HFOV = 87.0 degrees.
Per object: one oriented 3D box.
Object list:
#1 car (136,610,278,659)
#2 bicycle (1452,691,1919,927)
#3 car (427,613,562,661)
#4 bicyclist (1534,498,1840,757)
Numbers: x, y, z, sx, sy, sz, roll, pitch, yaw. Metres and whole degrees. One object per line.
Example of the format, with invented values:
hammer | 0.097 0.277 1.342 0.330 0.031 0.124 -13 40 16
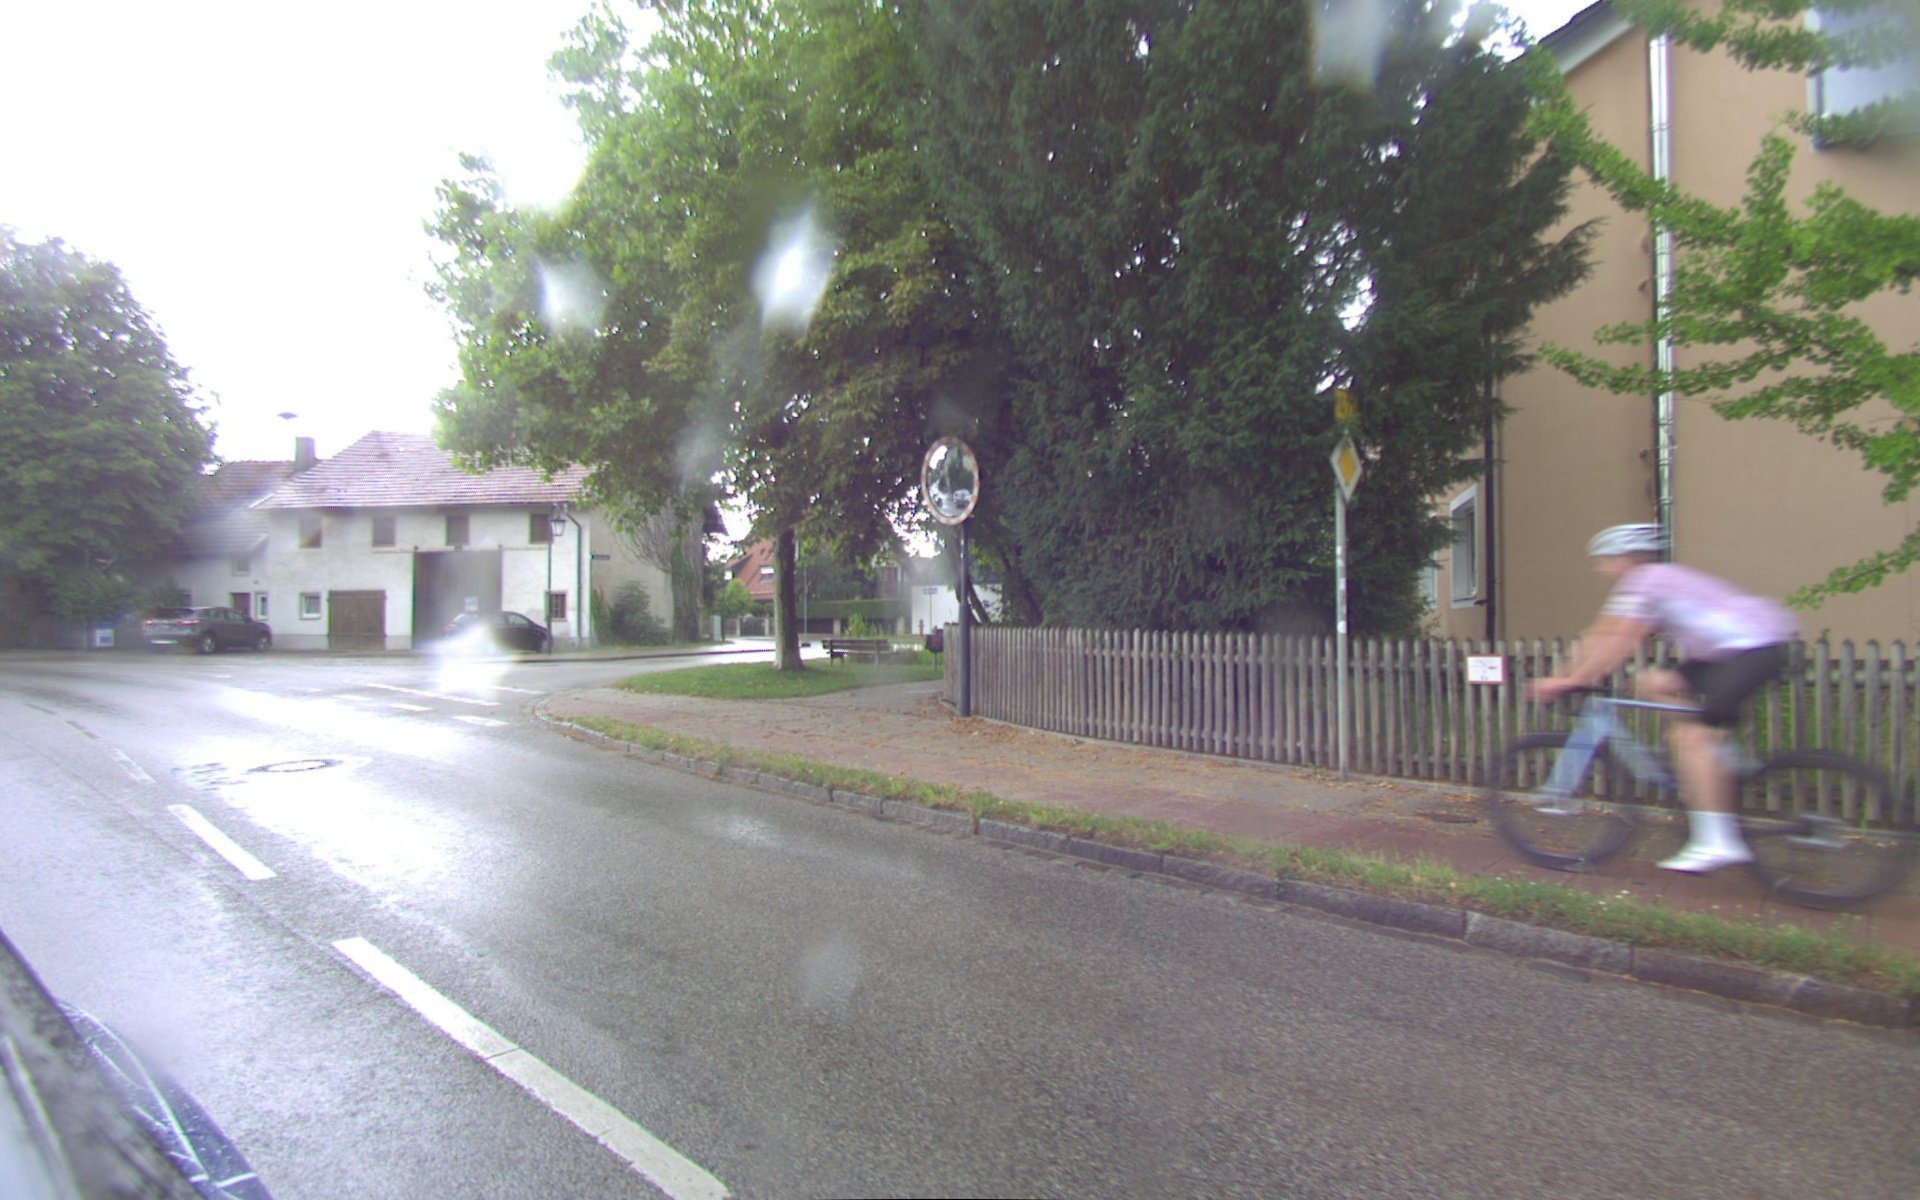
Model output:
car | -25.562 1.200 34.561 1.791 1.560 4.283 0 -2 -2
bicycle | 3.335 0.870 4.536 1.976 0.805 0.451 -1 -1 41
car | -15.063 1.168 33.024 1.802 1.447 4.264 0 -1 12
bicyclist | 3.272 0.117 4.593 1.060 1.029 0.581 -1 -1 41
